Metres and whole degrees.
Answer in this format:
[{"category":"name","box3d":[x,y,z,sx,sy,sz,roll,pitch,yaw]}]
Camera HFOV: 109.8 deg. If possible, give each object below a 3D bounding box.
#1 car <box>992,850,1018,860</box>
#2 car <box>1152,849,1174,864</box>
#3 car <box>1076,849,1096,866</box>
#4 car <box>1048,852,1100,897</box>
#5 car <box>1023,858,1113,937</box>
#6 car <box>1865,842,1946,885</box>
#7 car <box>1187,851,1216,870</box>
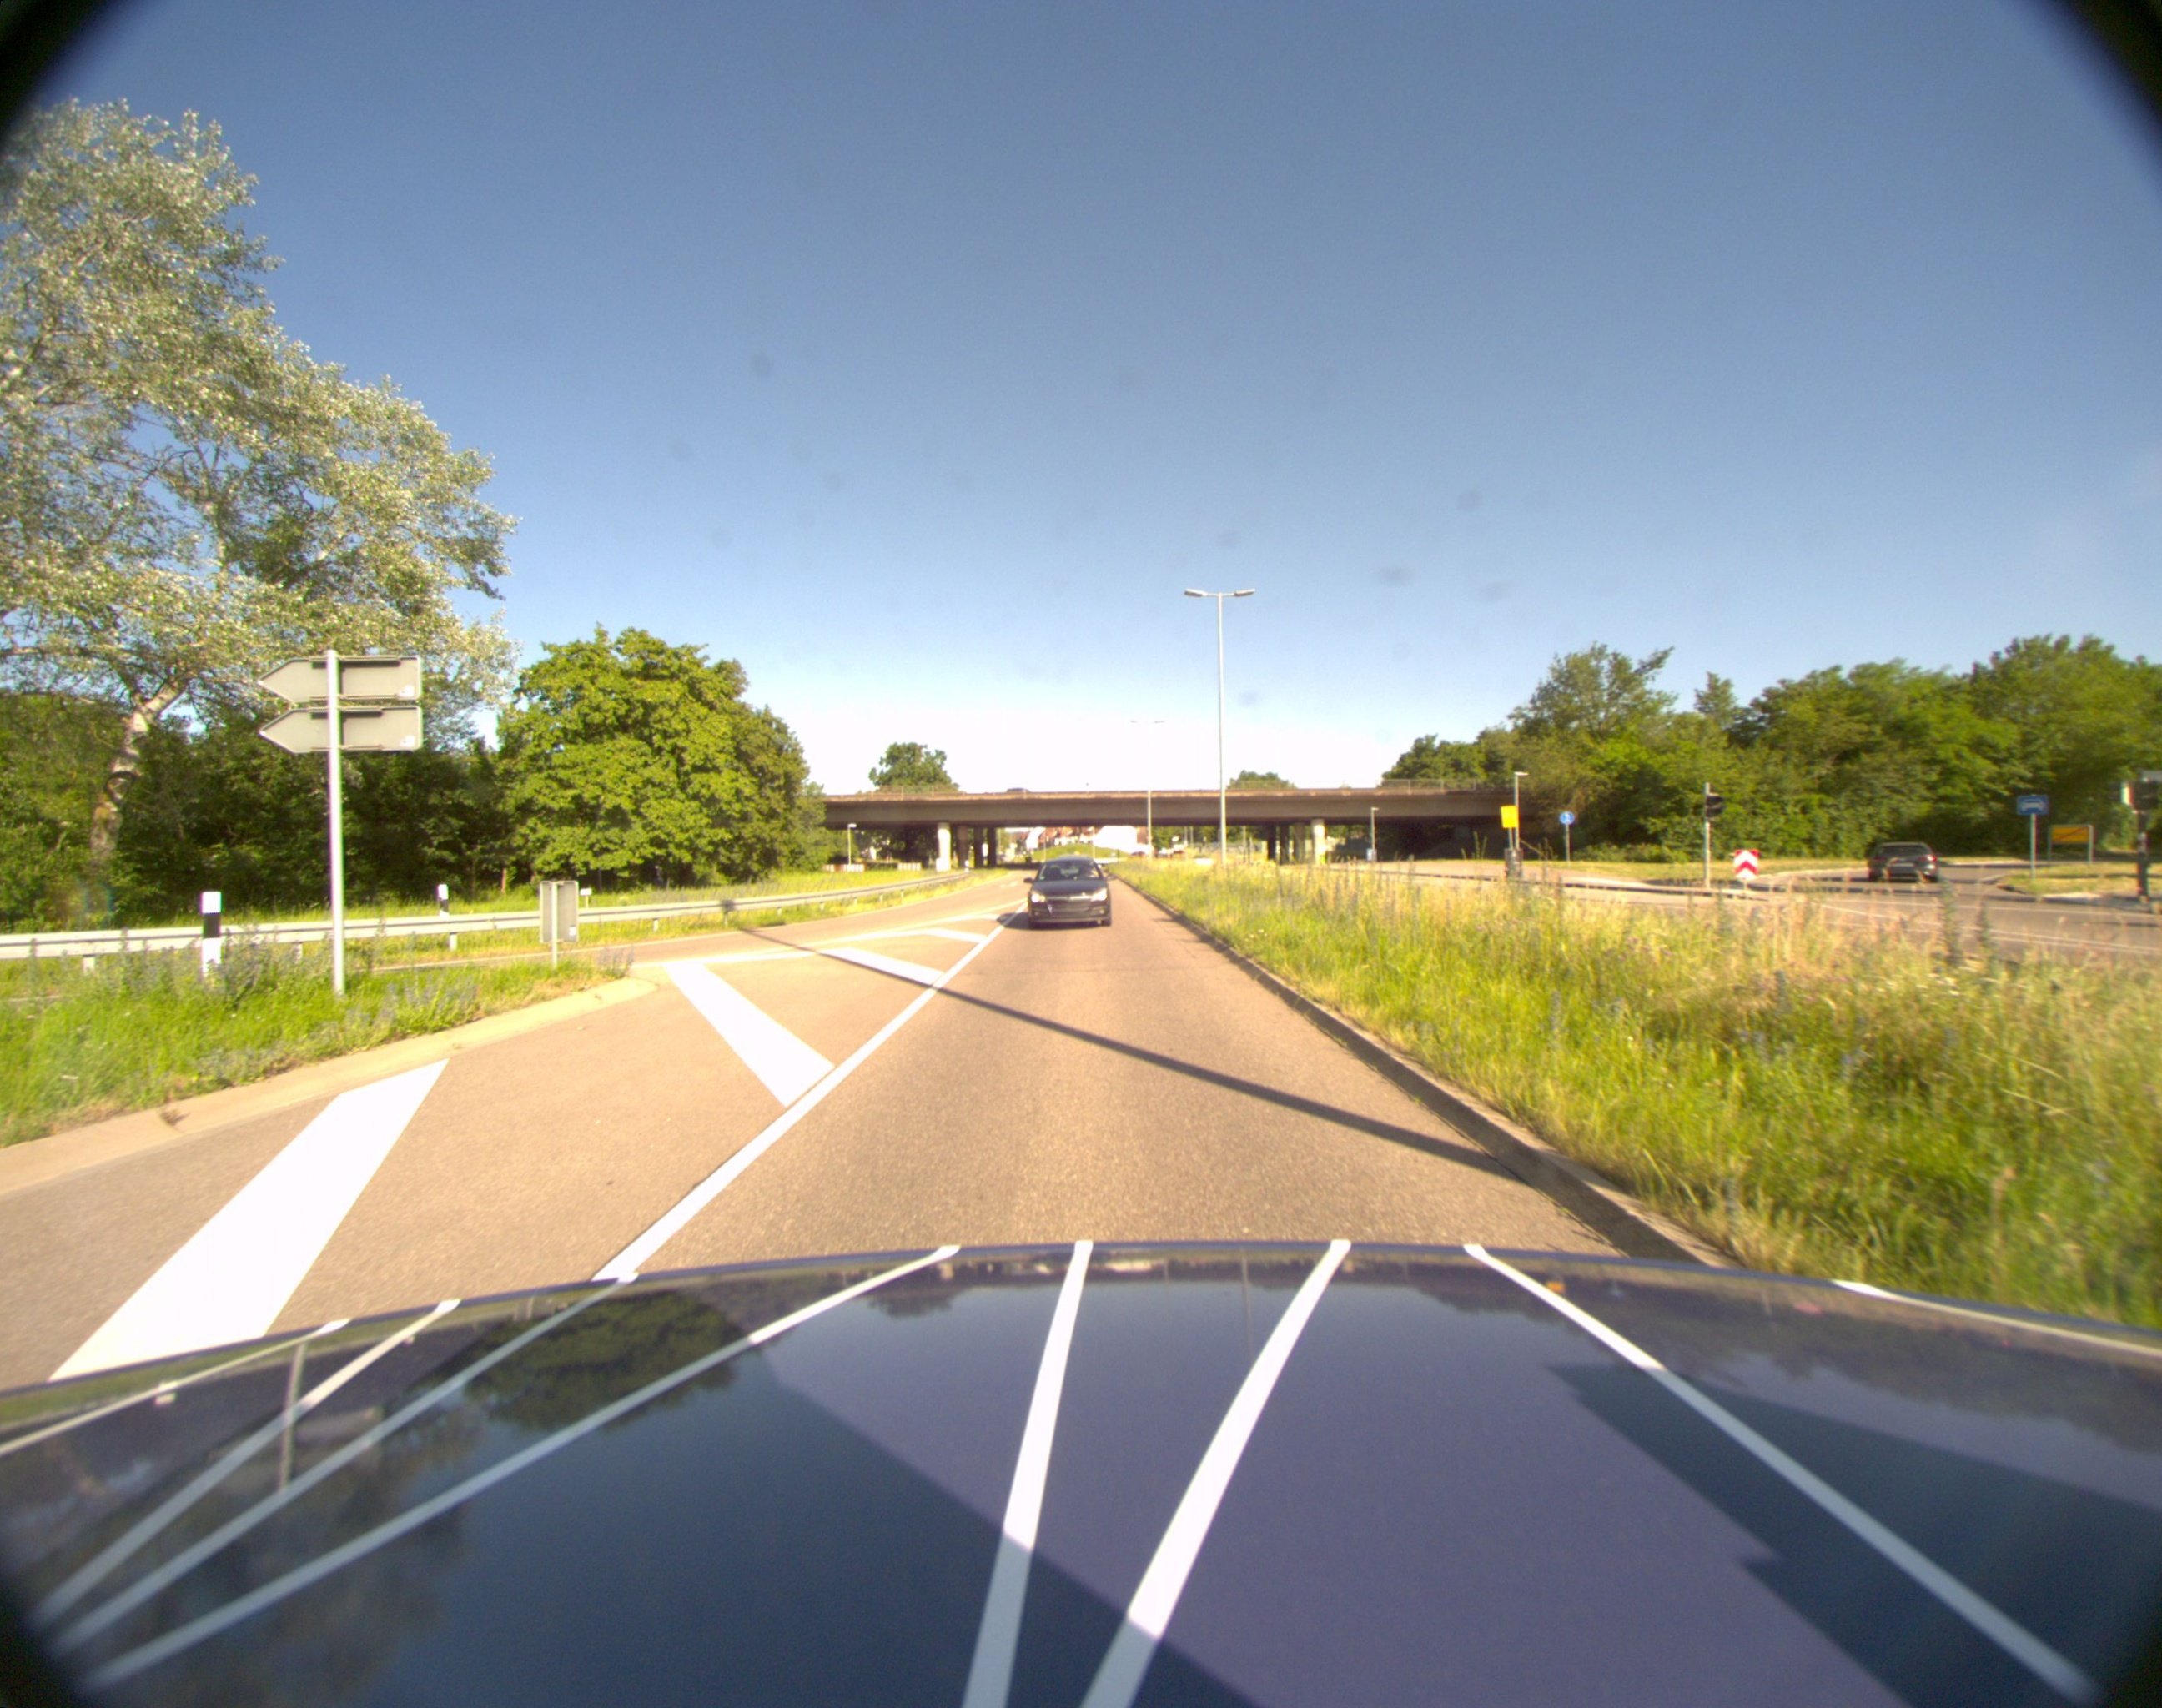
[{"category":"car","box3d":[-12.346,0.154,123.575,4.030,1.528,1.832,-1,1,42]},{"category":"car","box3d":[8.405,0.267,78.167,1.637,1.521,3.591,-1,0,-4]},{"category":"car","box3d":[0.483,0.302,73.996,1.827,1.528,4.042,-1,1,1]},{"category":"car","box3d":[-0.241,0.723,29.453,1.827,1.528,4.042,-2,1,1]},{"category":"car","box3d":[-0.229,0.860,16.776,1.707,1.447,3.959,-2,0,1]},{"category":"car","box3d":[30.835,0.288,28.533,1.780,1.417,4.390,1,2,44]},{"category":"car","box3d":[9.538,0.490,60.450,1.636,1.436,4.103,-1,0,1]}]
